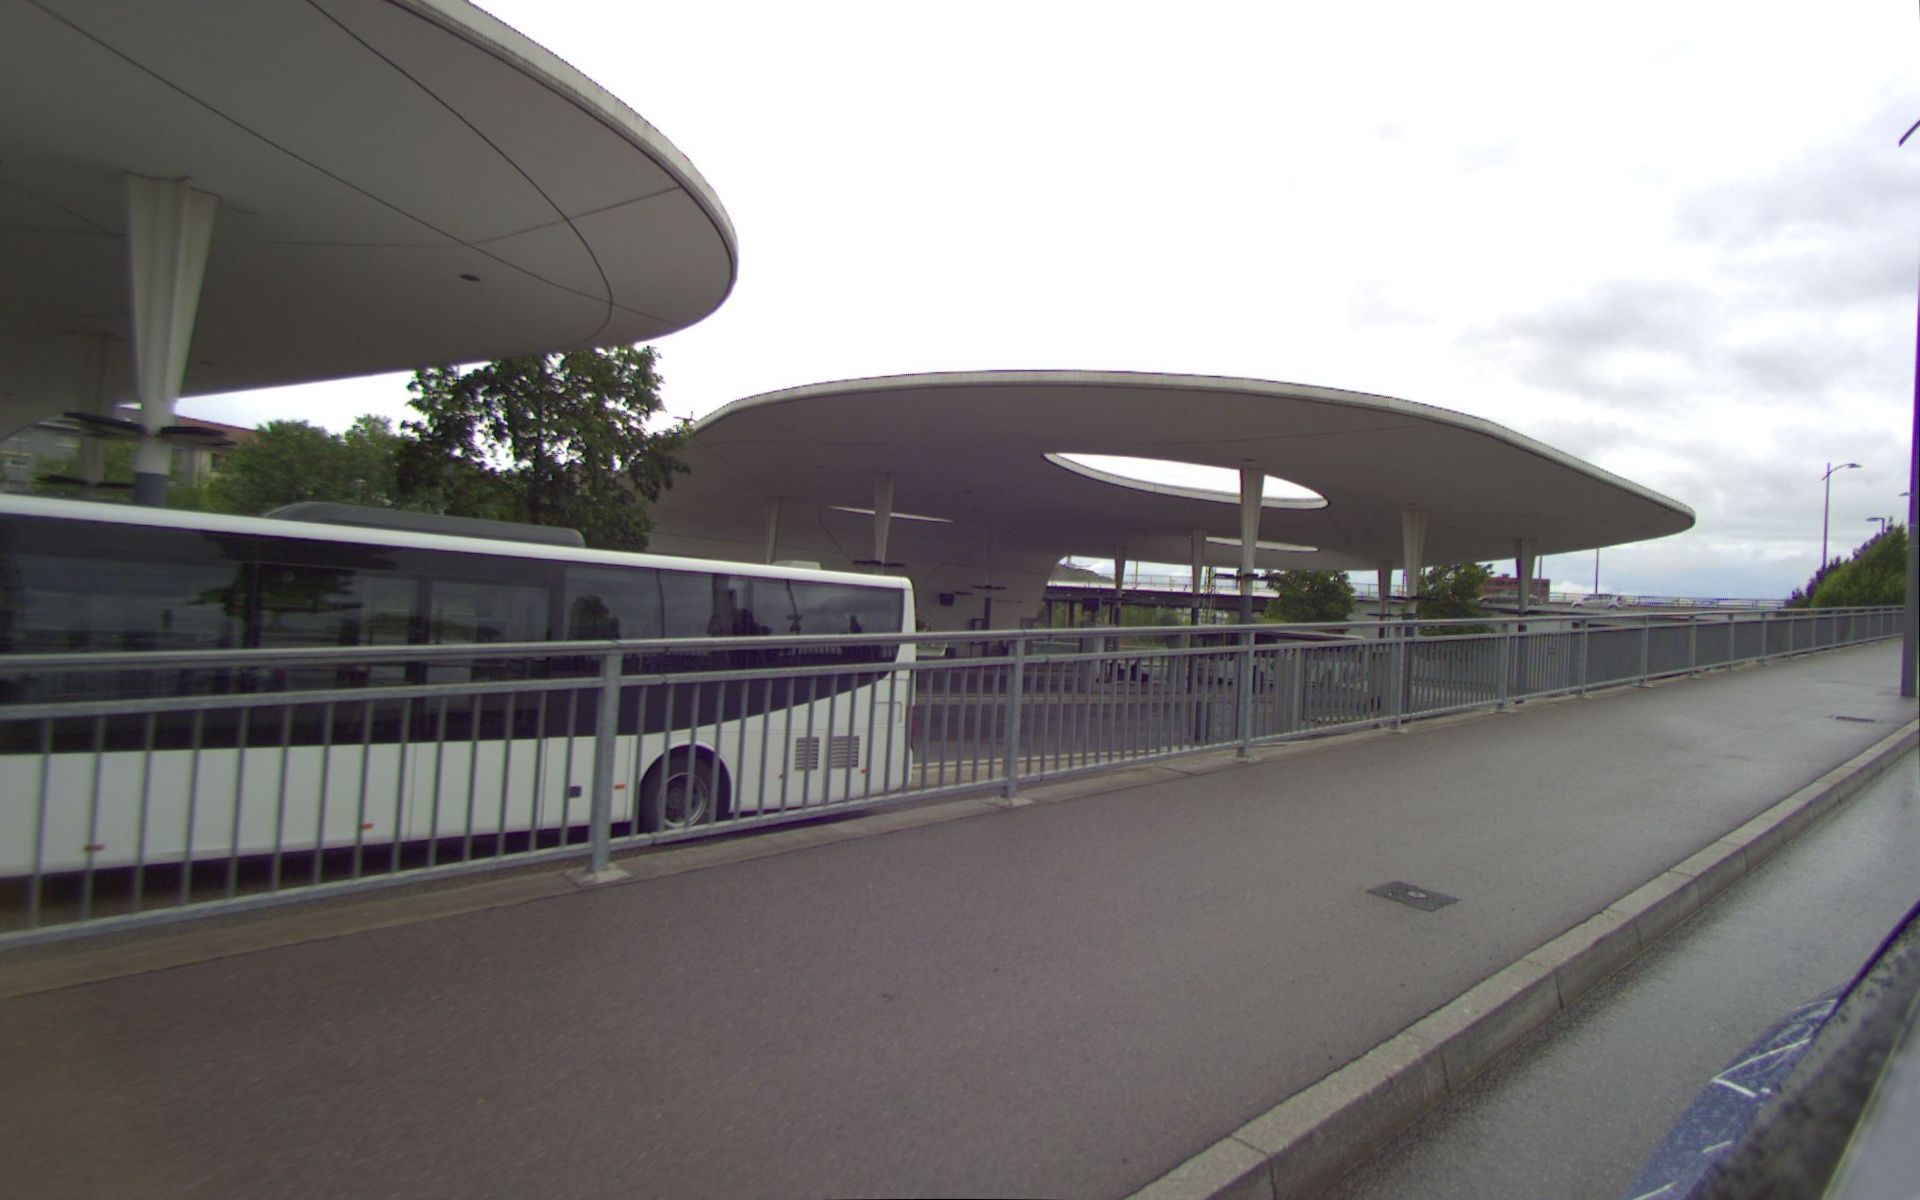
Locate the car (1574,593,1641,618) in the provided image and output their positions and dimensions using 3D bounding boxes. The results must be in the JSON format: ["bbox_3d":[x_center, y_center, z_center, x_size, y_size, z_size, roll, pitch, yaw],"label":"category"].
[{"bbox_3d":[52.157,0.435,81.618,1.817,1.993,4.208,2,-1,-37],"label":"car"}]

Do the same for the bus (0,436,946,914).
[{"bbox_3d":[-5.763,0.728,10.071,12.204,3.406,2.849,5,-4,-41],"label":"bus"}]

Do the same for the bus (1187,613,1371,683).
[{"bbox_3d":[17.784,2.515,55.754,11.907,3.299,2.798,-1,-1,-34],"label":"bus"}]

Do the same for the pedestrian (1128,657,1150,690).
[{"bbox_3d":[6.728,2.770,38.059,0.658,1.178,0.535,0,-1,-44],"label":"pedestrian"}]

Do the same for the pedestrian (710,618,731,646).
[{"bbox_3d":[-11.655,1.565,49.234,0.698,1.341,0.801,0,-1,-35],"label":"pedestrian"}]

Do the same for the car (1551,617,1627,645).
[{"bbox_3d":[48.806,2.372,78.574,2.079,1.993,4.675,2,-1,-43],"label":"car"}]
